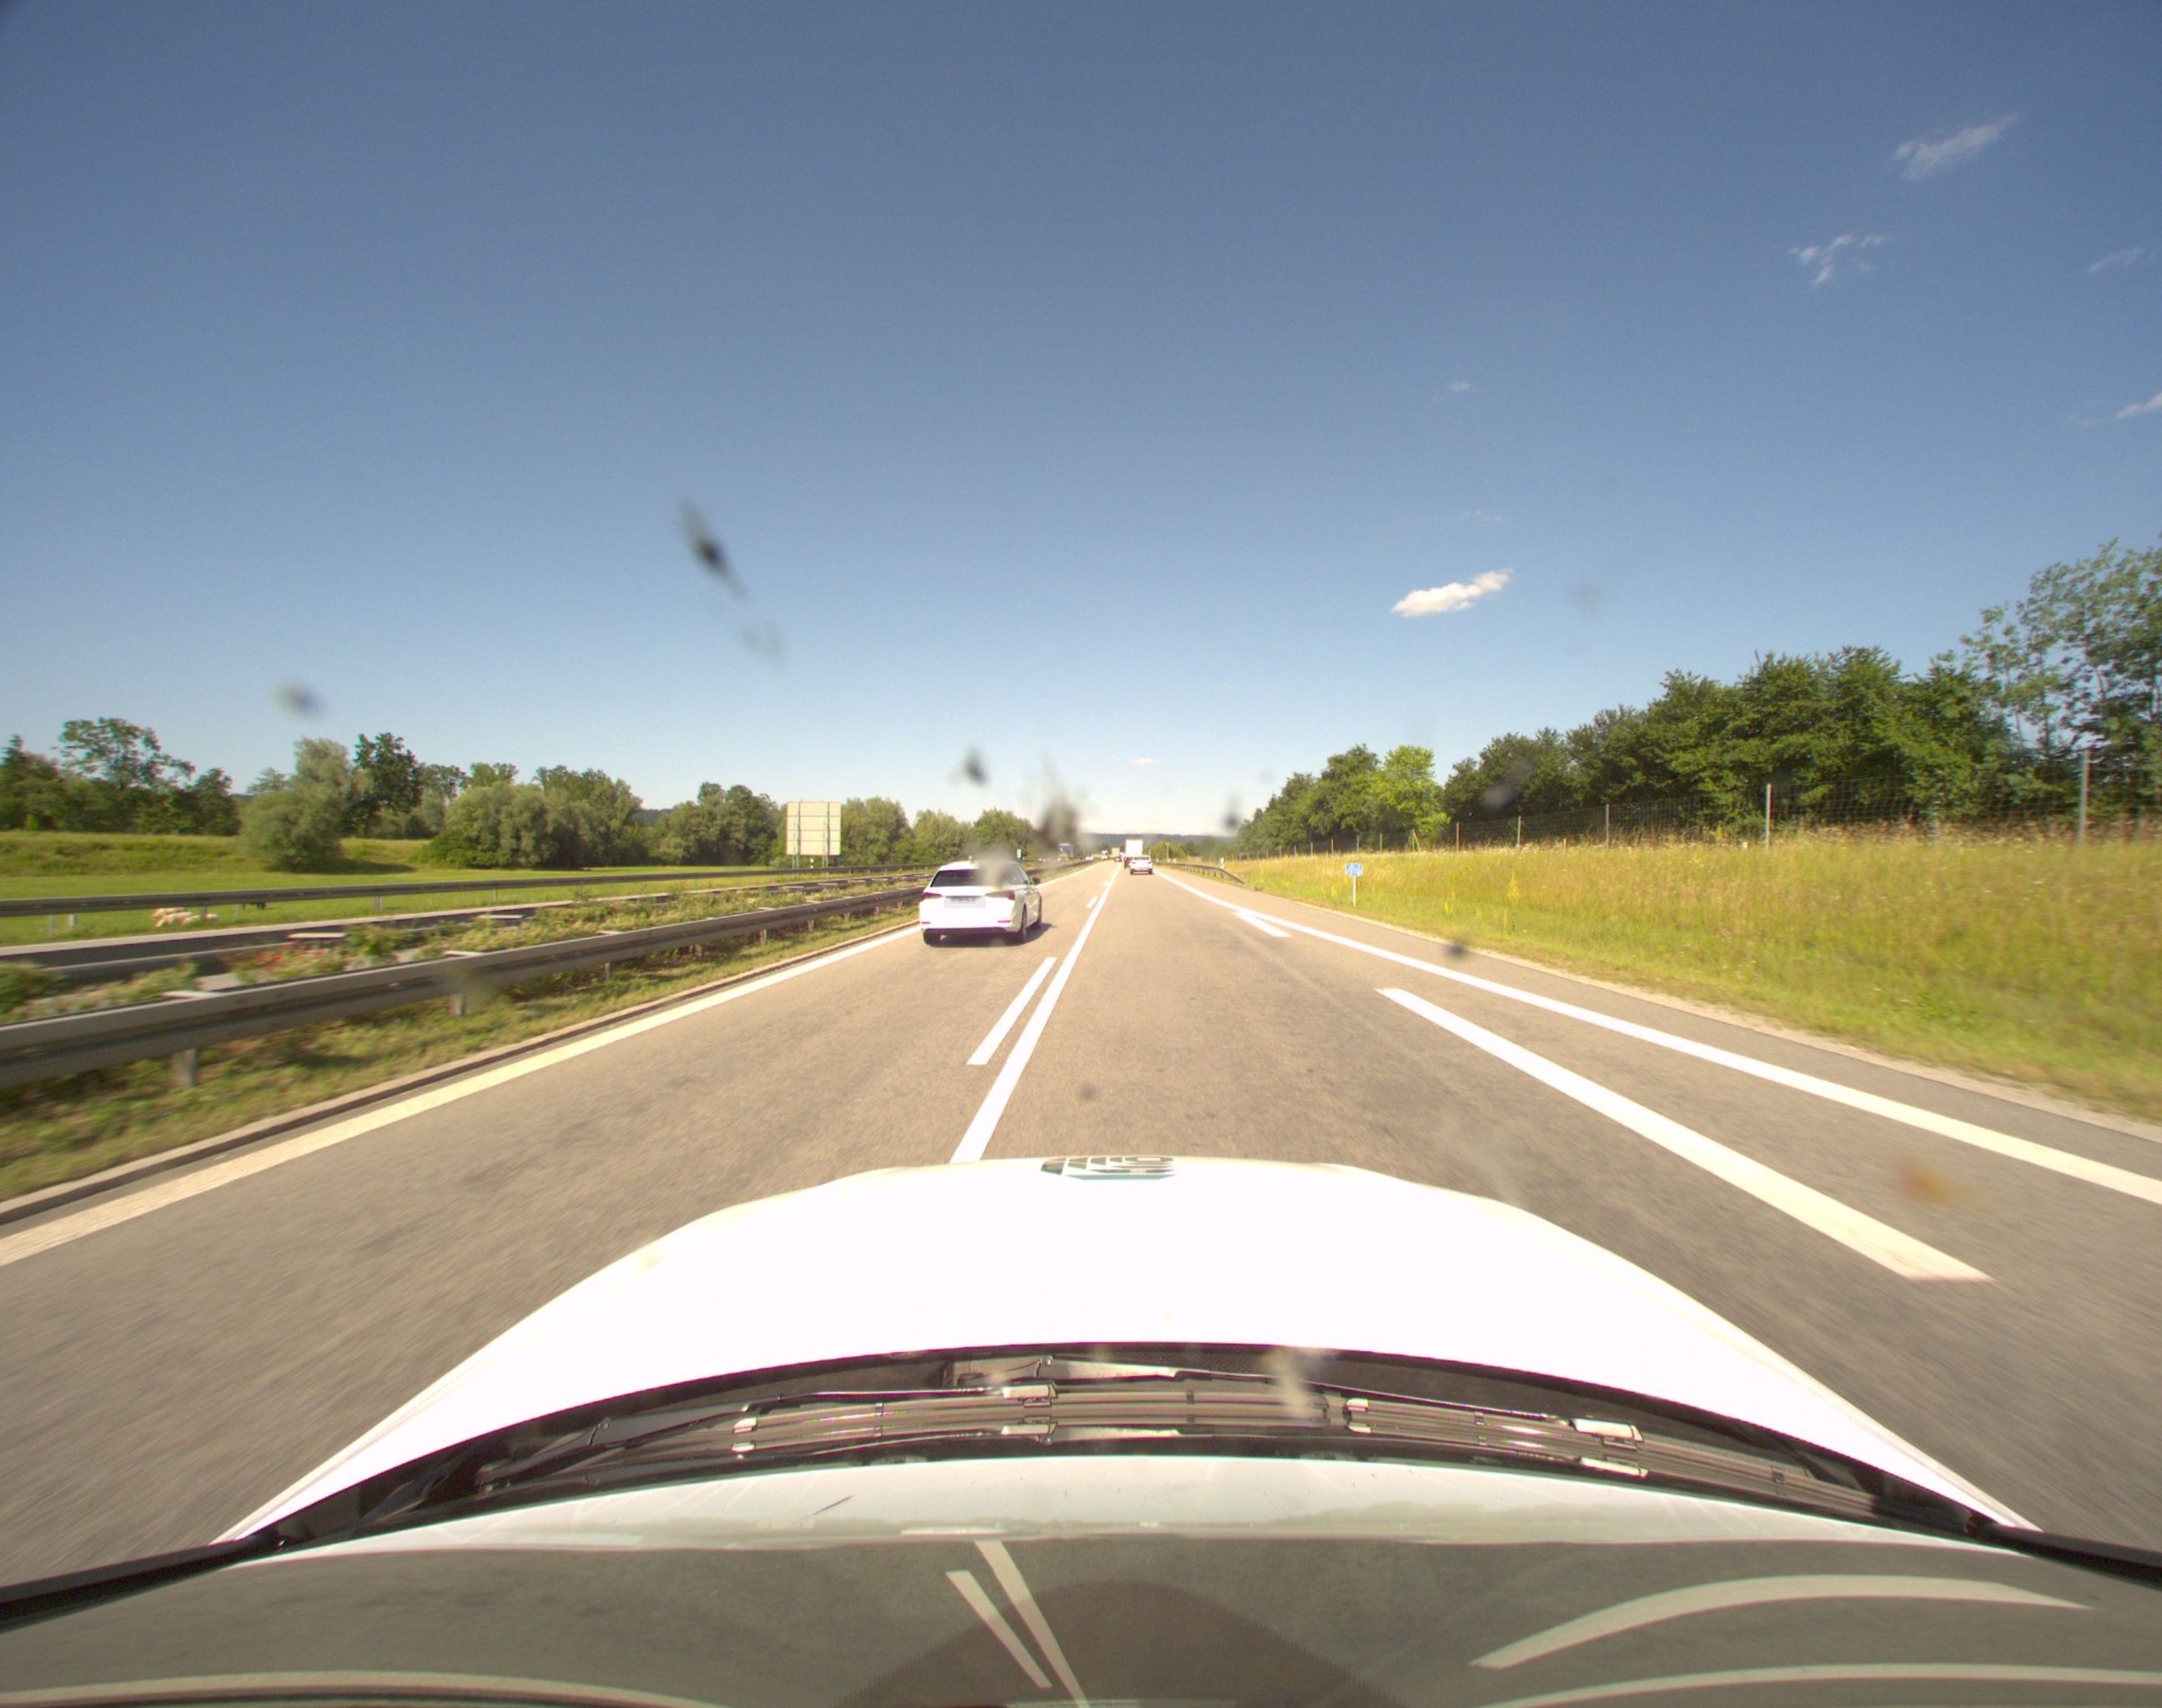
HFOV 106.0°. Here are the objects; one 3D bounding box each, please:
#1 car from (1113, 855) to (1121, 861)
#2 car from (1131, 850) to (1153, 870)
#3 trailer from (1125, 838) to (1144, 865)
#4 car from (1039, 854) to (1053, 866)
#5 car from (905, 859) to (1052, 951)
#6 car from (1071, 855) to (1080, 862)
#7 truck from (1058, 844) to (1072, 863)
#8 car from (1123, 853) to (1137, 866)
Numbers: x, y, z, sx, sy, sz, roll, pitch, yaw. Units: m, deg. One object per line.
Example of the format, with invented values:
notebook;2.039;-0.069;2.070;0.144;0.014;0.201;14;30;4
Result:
car;9.450;1.079;213.909;1.764;1.421;4.499;2;0;3
car;4.870;0.457;65.494;1.677;1.496;4.991;3;1;3
trailer;8.488;-0.343;128.137;2.806;3.966;14.176;0;0;4
car;-5.687;1.020;133.328;1.842;1.804;4.874;-2;-1;3
car;-1.748;0.839;15.690;1.832;1.421;5.259;-1;0;4
car;-1.098;0.978;171.494;1.674;1.459;4.928;-2;0;2
truck;-3.695;-0.048;184.885;2.729;4.302;6.338;-1;0;2
car;5.938;0.693;99.126;1.658;1.454;4.548;2;0;4
